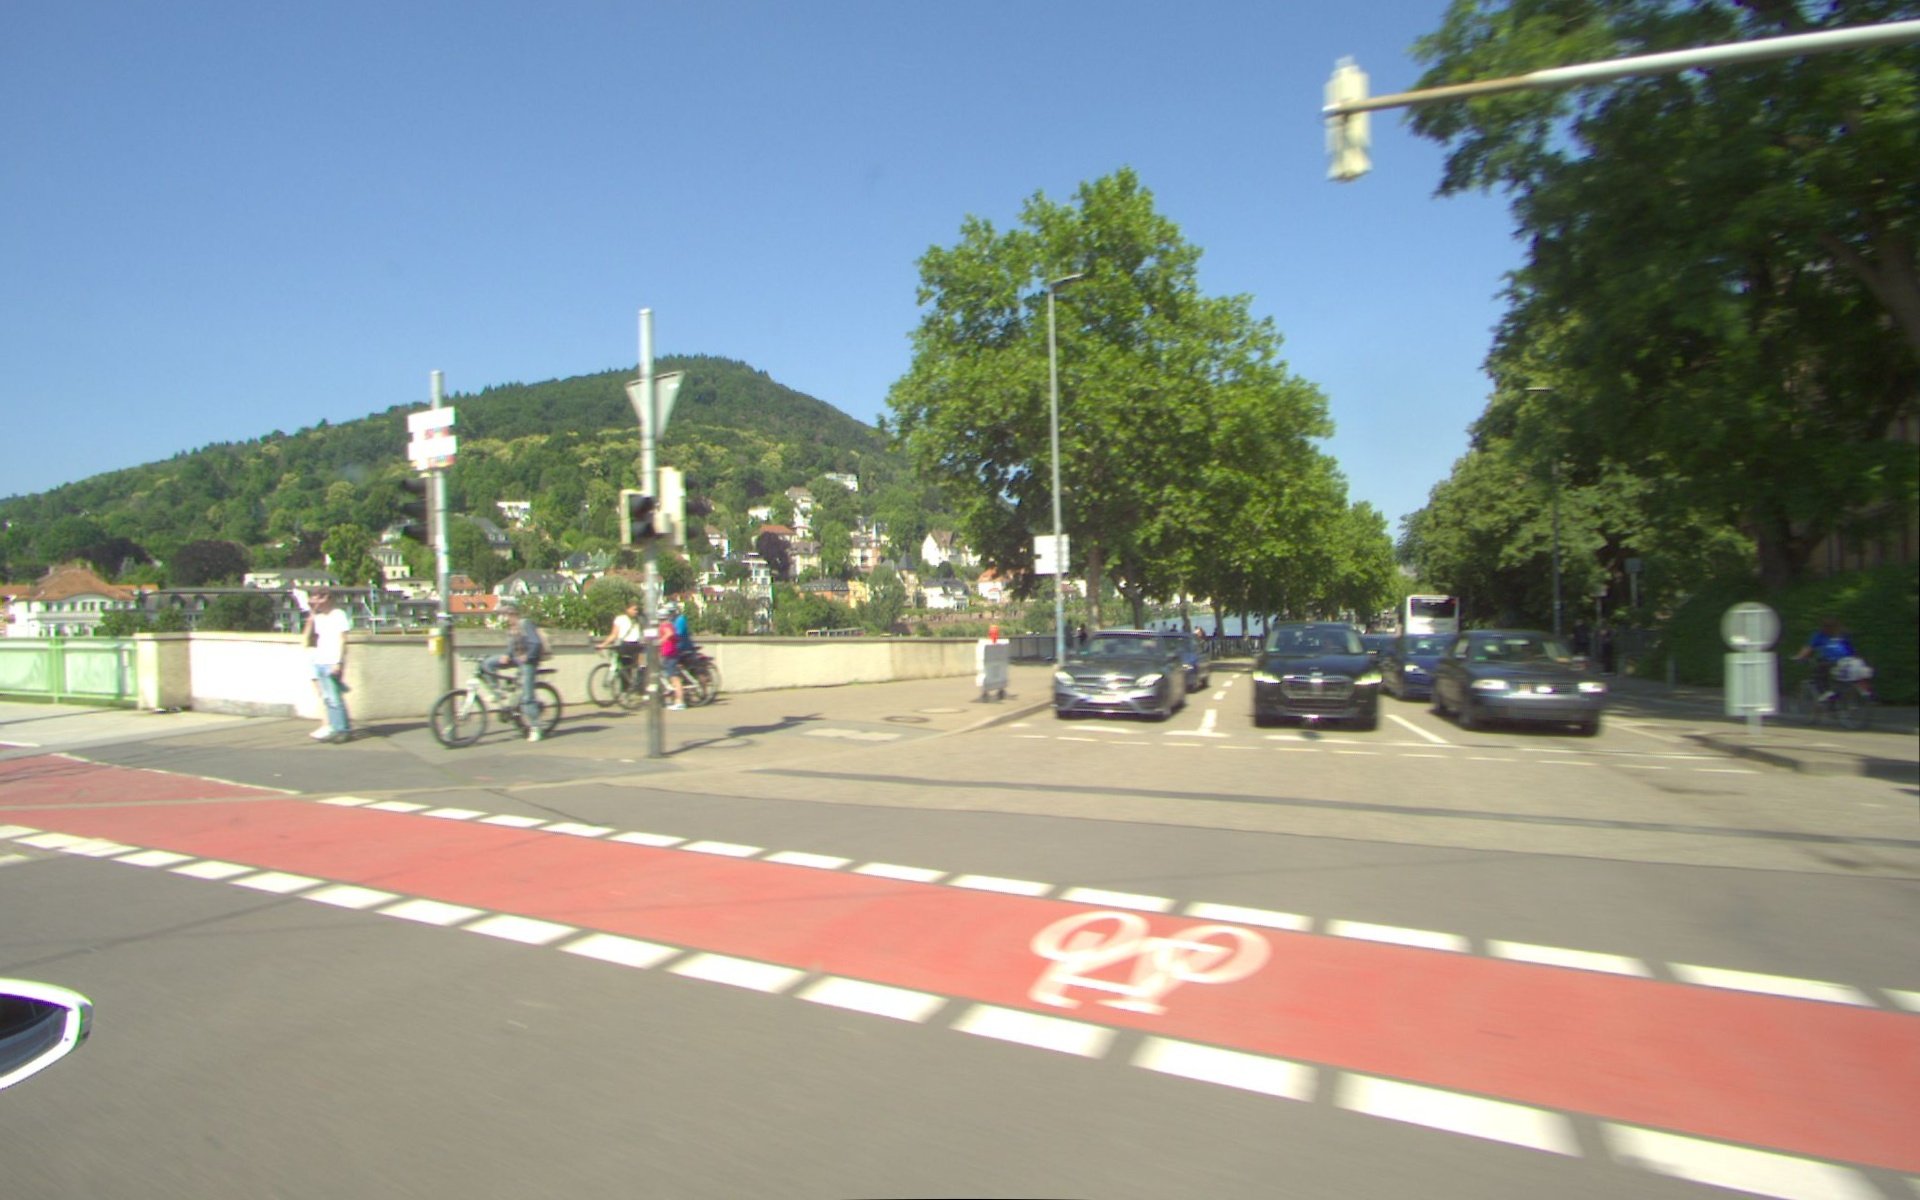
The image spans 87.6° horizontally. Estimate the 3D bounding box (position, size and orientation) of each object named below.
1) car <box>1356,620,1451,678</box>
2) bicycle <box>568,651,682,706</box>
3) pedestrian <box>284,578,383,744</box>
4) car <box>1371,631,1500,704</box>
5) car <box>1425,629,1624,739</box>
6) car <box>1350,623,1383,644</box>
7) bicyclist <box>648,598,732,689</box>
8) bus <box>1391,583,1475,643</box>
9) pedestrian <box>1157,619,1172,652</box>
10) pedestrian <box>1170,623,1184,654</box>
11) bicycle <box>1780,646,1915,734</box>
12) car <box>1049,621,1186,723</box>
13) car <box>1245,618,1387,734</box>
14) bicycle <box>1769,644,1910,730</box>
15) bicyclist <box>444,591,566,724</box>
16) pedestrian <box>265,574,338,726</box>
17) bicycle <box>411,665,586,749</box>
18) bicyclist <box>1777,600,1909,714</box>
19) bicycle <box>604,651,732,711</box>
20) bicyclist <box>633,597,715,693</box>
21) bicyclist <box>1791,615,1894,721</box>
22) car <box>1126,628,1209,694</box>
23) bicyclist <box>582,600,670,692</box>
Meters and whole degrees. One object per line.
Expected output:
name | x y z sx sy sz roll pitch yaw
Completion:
car | 12.270 1.309 27.972 1.813 1.461 4.481 -1 -1 16
bicycle | -5.623 1.294 16.923 0.557 0.837 1.936 -1 -2 30
pedestrian | -7.403 0.702 11.850 0.635 1.880 0.773 -1 0 29
car | 10.210 1.387 21.831 1.814 1.397 4.481 -1 -1 16
car | 8.319 1.152 15.177 1.849 1.375 4.309 -1 -1 19
car | 25.186 2.082 61.957 1.731 1.238 3.285 -1 -2 25
bicyclist | -4.632 0.738 17.193 0.915 1.493 1.077 -1 -1 34
bus | 24.750 0.694 52.808 3.055 2.819 8.836 -2 -1 20
pedestrian | 11.124 1.940 54.426 0.665 1.798 0.741 -1 0 21
pedestrian | 12.715 2.274 58.637 0.665 1.798 0.741 -1 0 21
bicycle | 13.791 1.362 15.642 0.704 1.241 2.002 0 -1 13
car | 2.880 1.155 17.512 1.814 1.414 4.479 -1 0 16
car | 5.496 1.085 15.954 1.813 1.525 4.481 1 -1 16
bicycle | 13.679 1.313 15.670 0.605 1.180 2.248 -1 -1 12
bicyclist | -5.406 0.671 11.932 0.788 1.493 1.078 -1 -1 30
pedestrian | -7.964 0.592 12.112 0.568 1.783 0.533 -1 0 29
bicycle | -5.433 1.235 11.919 0.557 0.837 1.936 -1 -2 30
bicyclist | 13.751 0.876 15.641 1.150 1.699 1.088 0 -1 13
bicycle | -4.657 1.276 16.079 1.924 0.864 0.560 1 -2 -40
bicyclist | -4.608 0.715 16.159 1.071 1.493 0.756 1 -1 -39
bicyclist | 13.685 1.028 15.567 0.763 1.574 1.059 -1 0 12
car | 5.234 1.448 24.870 1.813 1.466 4.483 -1 -1 14
bicyclist | -5.607 0.765 16.848 0.915 1.493 1.078 -1 -1 33
